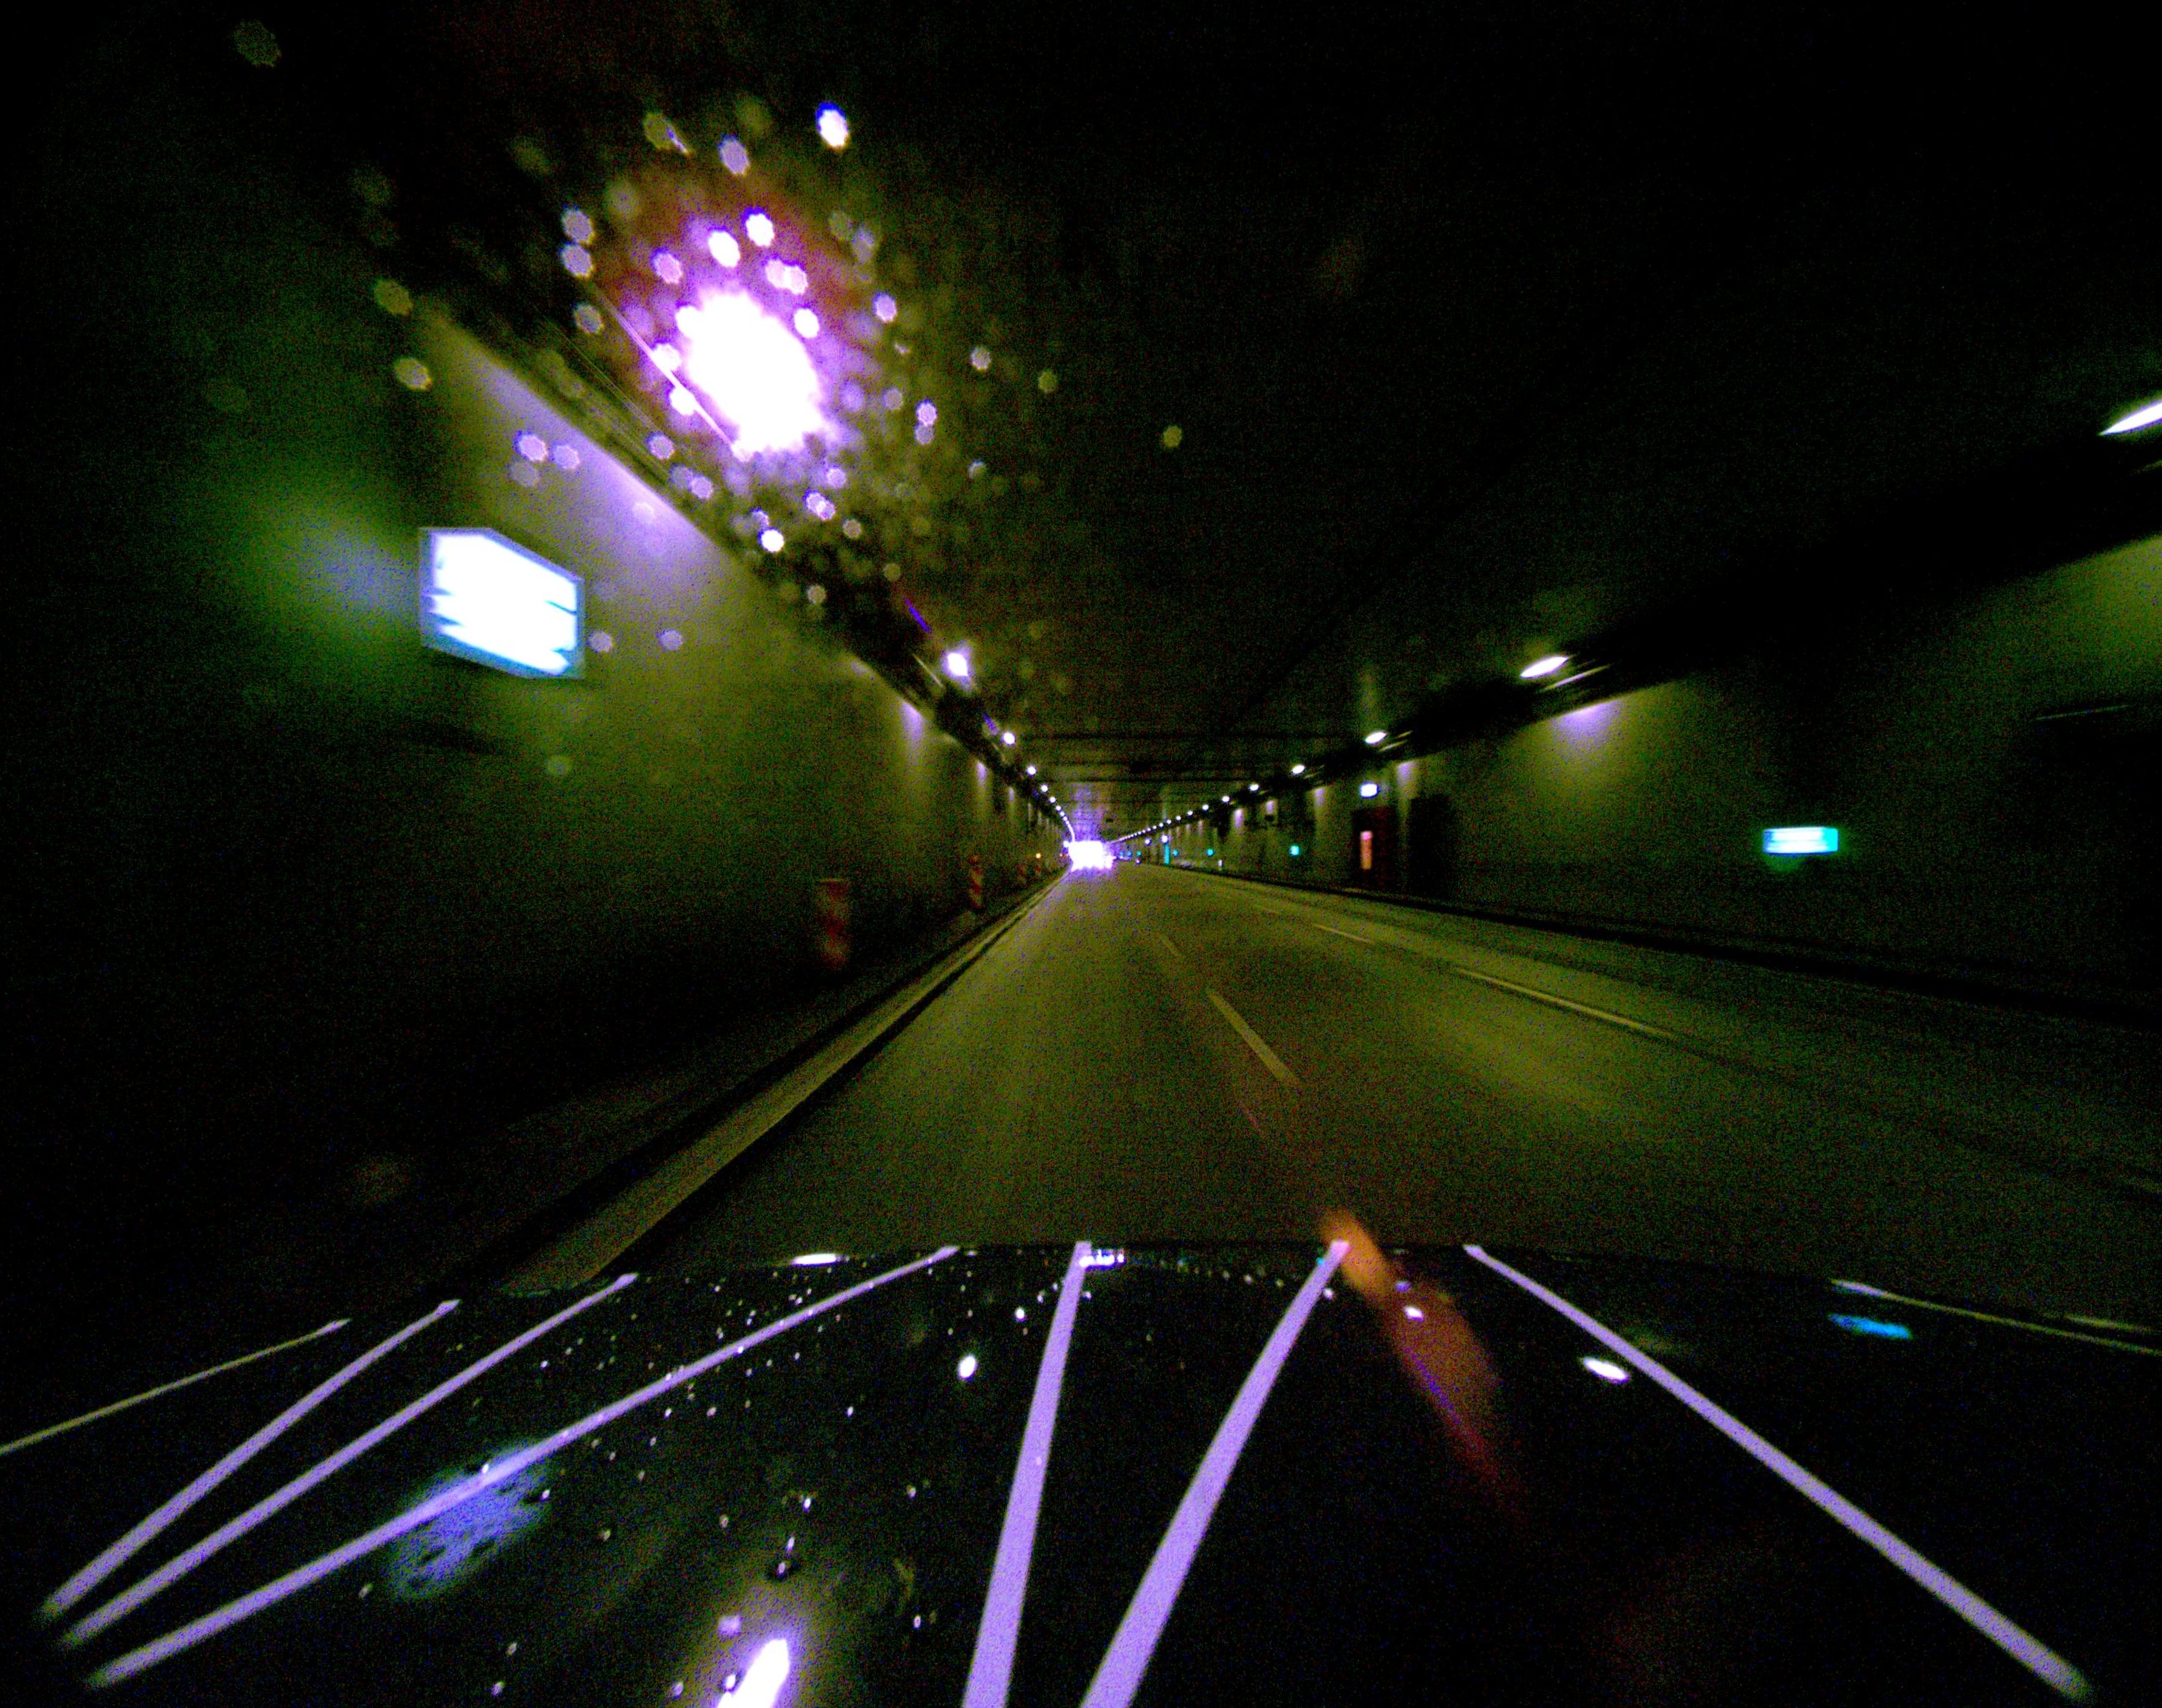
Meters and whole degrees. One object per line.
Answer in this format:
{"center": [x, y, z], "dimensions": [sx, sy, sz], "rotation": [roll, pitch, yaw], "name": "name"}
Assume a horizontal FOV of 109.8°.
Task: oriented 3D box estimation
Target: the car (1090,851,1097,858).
{"center": [3.544, 0.103, 212.680], "dimensions": [1.998, 1.756, 4.000], "rotation": [-2, 0, 1], "name": "car"}

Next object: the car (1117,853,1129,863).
{"center": [7.785, 0.746, 140.466], "dimensions": [1.998, 1.685, 4.001], "rotation": [-1, -1, 1], "name": "car"}

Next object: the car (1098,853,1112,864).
{"center": [3.984, 0.669, 124.865], "dimensions": [1.998, 1.685, 4.001], "rotation": [-1, 0, 4], "name": "car"}

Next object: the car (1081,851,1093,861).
{"center": [1.110, 0.324, 134.175], "dimensions": [1.998, 1.686, 4.000], "rotation": [-2, 0, 1], "name": "car"}
